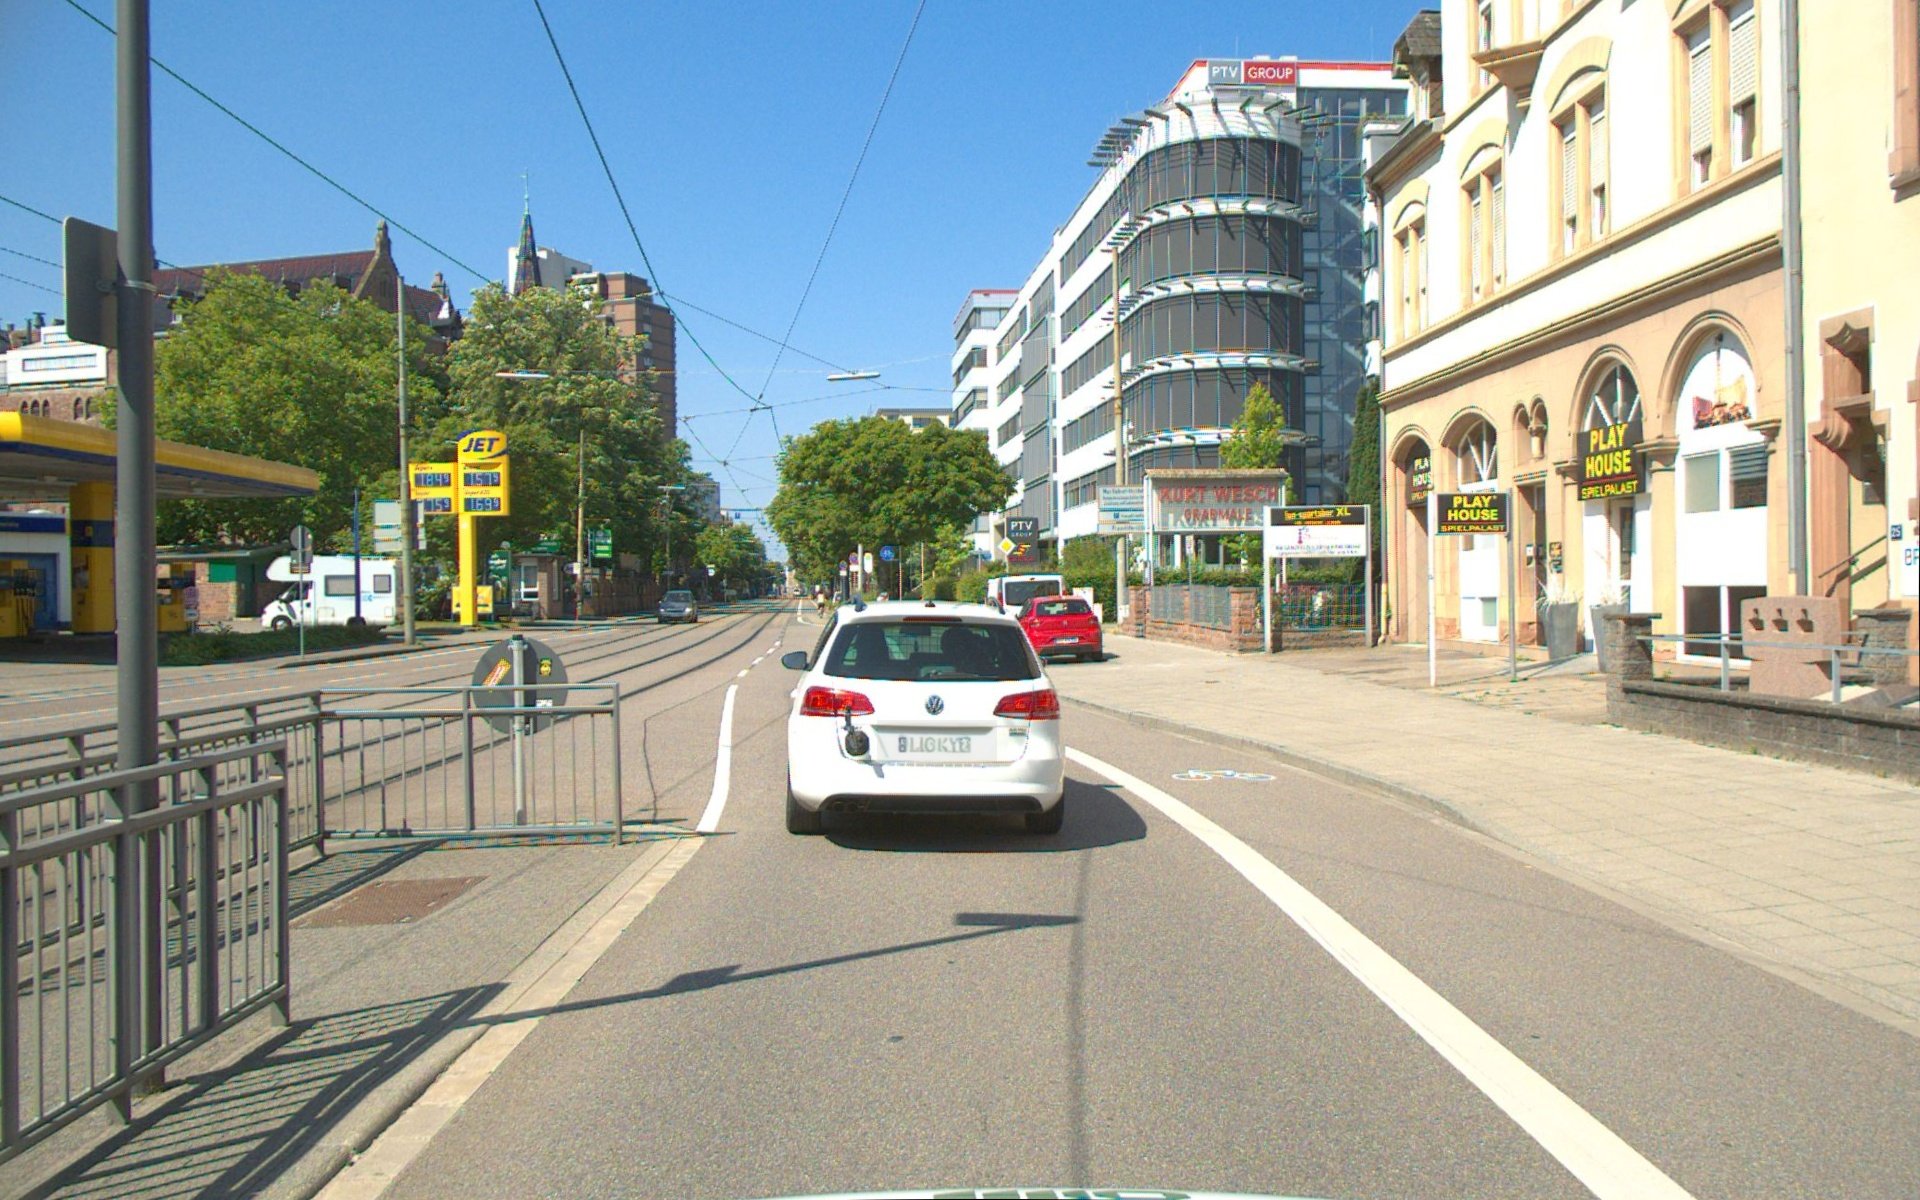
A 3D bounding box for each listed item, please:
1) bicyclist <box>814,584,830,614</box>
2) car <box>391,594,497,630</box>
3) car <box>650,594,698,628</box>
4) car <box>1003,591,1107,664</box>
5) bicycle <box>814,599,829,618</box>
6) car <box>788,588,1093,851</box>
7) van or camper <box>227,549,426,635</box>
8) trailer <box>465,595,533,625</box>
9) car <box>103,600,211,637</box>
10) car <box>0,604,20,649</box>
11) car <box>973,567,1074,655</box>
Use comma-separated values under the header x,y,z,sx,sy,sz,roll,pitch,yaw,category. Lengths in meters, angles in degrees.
x,y,z,sx,sy,sz,roll,pitch,yaw,category
-7.877,-0.053,94.404,0.770,1.657,0.737,3,-1,-5,bicyclist
-24.744,0.556,79.430,1.912,1.653,4.557,-1,0,38,car
-14.314,0.564,82.979,1.710,1.598,3.891,-2,0,0,car
2.085,0.589,37.368,1.688,1.468,4.308,-3,0,-5,car
-7.890,0.479,94.191,0.795,1.097,2.010,-1,0,-5,bicycle
-0.280,0.660,11.565,1.719,1.467,4.408,0,0,-5,car
-24.326,-0.290,63.739,6.562,3.019,2.613,2,0,-6,van or camper
-24.409,0.515,87.609,3.152,1.552,1.776,-1,0,-5,trailer
-34.977,0.799,72.072,4.071,1.554,1.938,-1,0,20,car
-29.540,0.774,47.513,1.661,1.326,4.392,1,0,19,car
1.607,0.267,43.694,1.938,2.090,5.185,-3,0,-5,car
